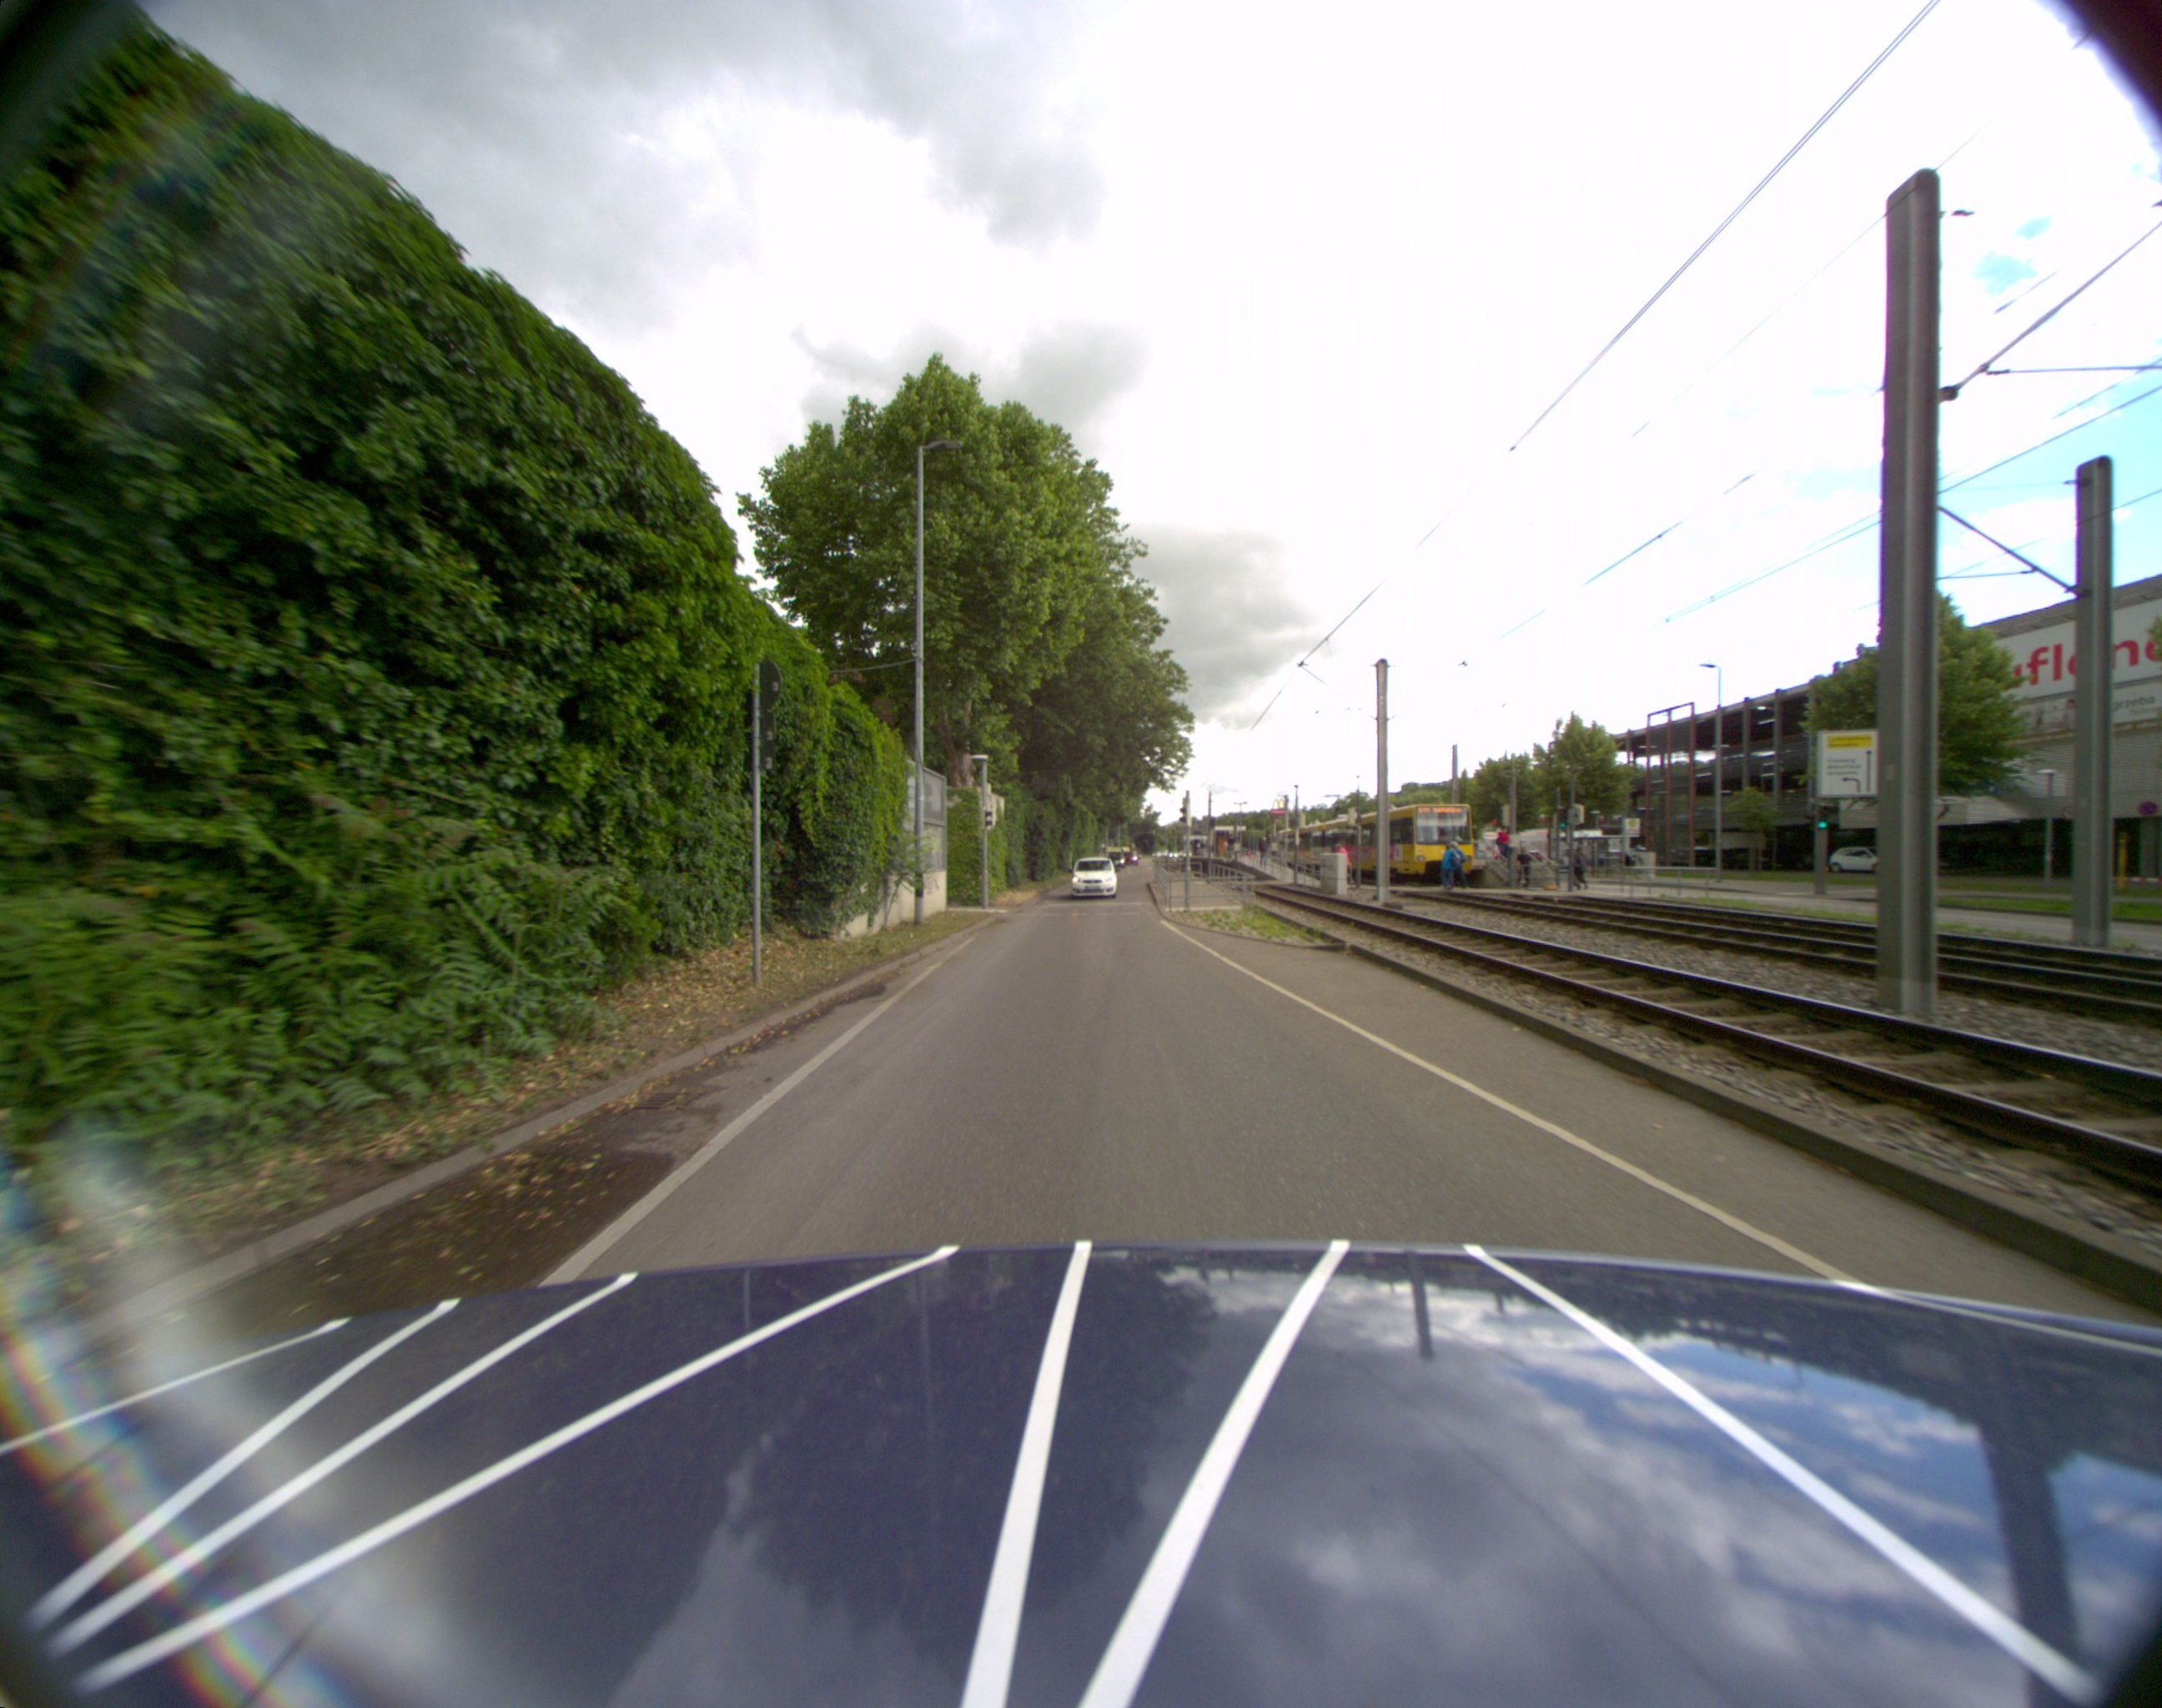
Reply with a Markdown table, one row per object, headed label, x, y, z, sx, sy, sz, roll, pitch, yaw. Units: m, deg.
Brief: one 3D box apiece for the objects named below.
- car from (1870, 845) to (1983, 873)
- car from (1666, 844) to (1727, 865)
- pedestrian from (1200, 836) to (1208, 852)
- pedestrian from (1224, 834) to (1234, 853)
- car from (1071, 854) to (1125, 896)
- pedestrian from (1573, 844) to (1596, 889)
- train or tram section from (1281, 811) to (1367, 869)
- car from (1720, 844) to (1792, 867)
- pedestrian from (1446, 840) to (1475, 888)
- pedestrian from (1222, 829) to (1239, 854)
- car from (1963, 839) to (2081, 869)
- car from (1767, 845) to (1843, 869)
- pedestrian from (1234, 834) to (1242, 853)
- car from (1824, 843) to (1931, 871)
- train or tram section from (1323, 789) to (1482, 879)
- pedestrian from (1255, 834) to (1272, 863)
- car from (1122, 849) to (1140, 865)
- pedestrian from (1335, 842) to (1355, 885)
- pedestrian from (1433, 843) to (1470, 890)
| label | x | y | z | sx | sy | sz | roll | pitch | yaw |
| --- | --- | --- | --- | --- | --- | --- | --- | --- | --- |
| car | 45.493 | 0.239 | 41.020 | 1.782 | 1.395 | 4.001 | 1 | 1 | 6 |
| car | 46.889 | 0.033 | 57.948 | 1.727 | 1.506 | 3.796 | 1 | 1 | 5 |
| pedestrian | 13.307 | -1.046 | 82.194 | 0.750 | 1.734 | 0.937 | 1 | 1 | 4 |
| pedestrian | 11.549 | -0.805 | 59.189 | 0.519 | 1.474 | 0.583 | 3 | 2 | 42 |
| car | 0.560 | 0.747 | 28.381 | 1.674 | 1.439 | 3.603 | -1 | 0 | -4 |
| pedestrian | 18.675 | 0.444 | 28.190 | 0.517 | 1.652 | 0.466 | 2 | 1 | 15 |
| train or tram section | 18.690 | -0.976 | 60.211 | 2.762 | 3.860 | 18.639 | -1 | 0 | 6 |
| car | 46.546 | 0.096 | 52.507 | 1.727 | 1.506 | 3.796 | 1 | 1 | 5 |
| pedestrian | 13.632 | 0.359 | 27.316 | 0.726 | 1.688 | 0.658 | 3 | 2 | 43 |
| pedestrian | 10.417 | -0.857 | 52.821 | 0.878 | 1.668 | 0.743 | 0 | 2 | -42 |
| car | 50.680 | 0.000 | 41.041 | 1.758 | 1.506 | 3.870 | -1 | 0 | 5 |
| car | 49.389 | 0.191 | 51.940 | 1.727 | 1.506 | 3.796 | 1 | 1 | 5 |
| pedestrian | 11.893 | -0.800 | 57.553 | 0.480 | 1.397 | 0.411 | 1 | 1 | 3 |
| car | 43.172 | 0.141 | 41.328 | 1.782 | 1.390 | 4.001 | 1 | 1 | 6 |
| train or tram section | 16.674 | -0.882 | 41.712 | 2.762 | 3.806 | 18.639 | -1 | 0 | 6 |
| pedestrian | 10.411 | -0.317 | 43.457 | 0.773 | 1.668 | 0.791 | 1 | 1 | 4 |
| car | 5.554 | 0.320 | 84.219 | 1.895 | 1.607 | 4.509 | -1 | 0 | 5 |
| pedestrian | 10.397 | 0.362 | 29.873 | 0.613 | 1.644 | 0.797 | 2 | 1 | 26 |
| pedestrian | 12.954 | 0.430 | 26.567 | 0.938 | 1.602 | 0.716 | 3 | 2 | 44 |
